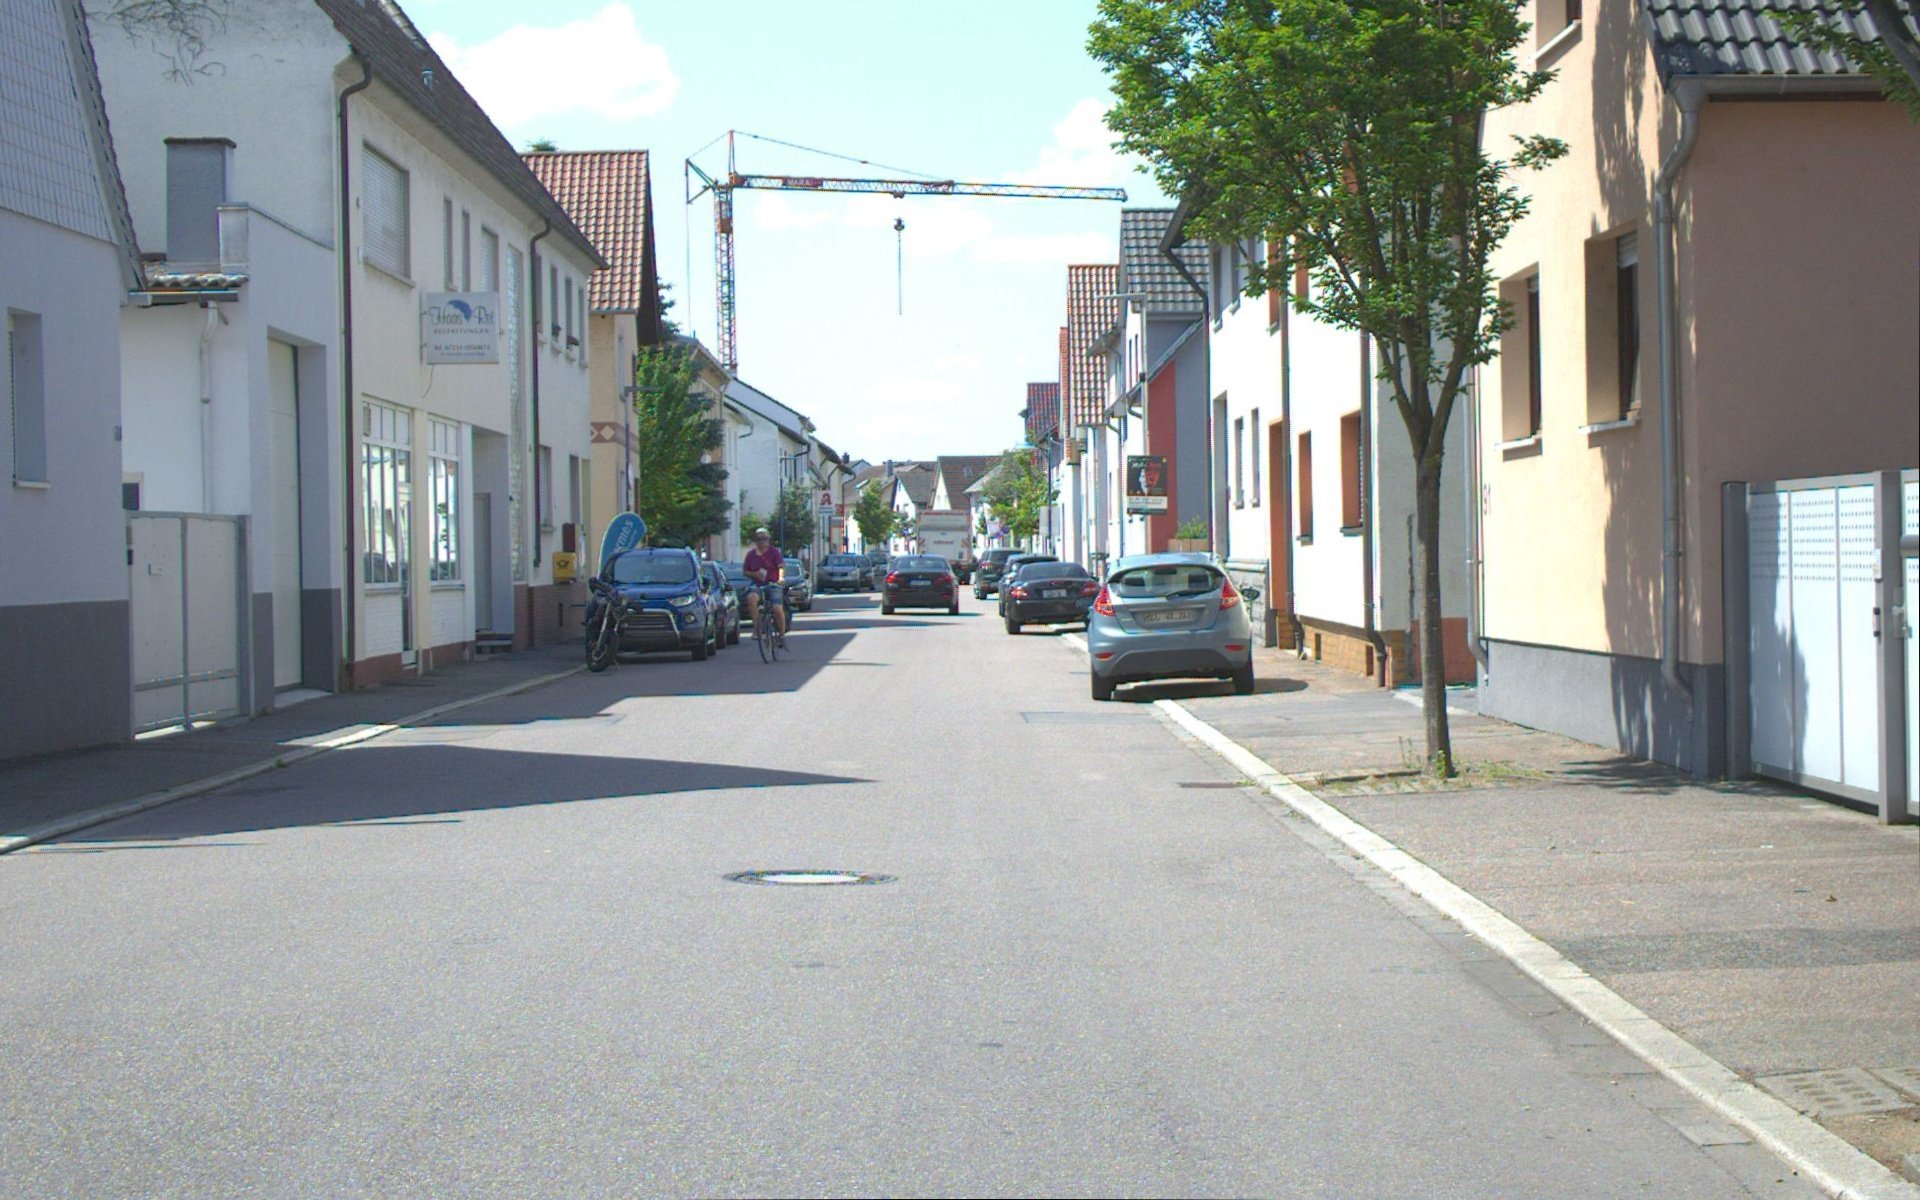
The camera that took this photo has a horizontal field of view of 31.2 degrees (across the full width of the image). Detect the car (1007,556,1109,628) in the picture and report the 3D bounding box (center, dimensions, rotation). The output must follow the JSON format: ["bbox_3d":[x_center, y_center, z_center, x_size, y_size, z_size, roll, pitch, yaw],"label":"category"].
[{"bbox_3d":[1.812,-0.167,64.559,1.815,1.271,4.147,-1,1,0],"label":"car"}]

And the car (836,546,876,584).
[{"bbox_3d":[-4.625,-1.577,153.021,1.653,1.603,4.061,-2,1,-1],"label":"car"}]

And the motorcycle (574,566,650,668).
[{"bbox_3d":[-4.661,0.209,46.183,0.808,1.308,2.106,-1,1,-1],"label":"motorcycle"}]

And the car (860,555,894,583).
[{"bbox_3d":[-4.625,-1.753,192.214,1.723,1.550,4.172,0,1,0],"label":"car"}]

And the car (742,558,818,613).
[{"bbox_3d":[-5.018,-0.412,96.405,1.768,1.455,4.436,-1,1,2],"label":"car"}]

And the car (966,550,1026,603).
[{"bbox_3d":[1.176,-0.794,113.787,1.728,1.711,4.276,-1,1,-2],"label":"car"}]

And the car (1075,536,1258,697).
[{"bbox_3d":[2.187,0.132,36.257,1.722,1.476,3.749,-4,1,4],"label":"car"}]

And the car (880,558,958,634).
[{"bbox_3d":[-1.014,-0.124,83.736,1.782,1.747,4.000,-2,1,-1],"label":"car"}]

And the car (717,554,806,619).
[{"bbox_3d":[-4.327,-0.322,75.288,1.761,1.369,4.067,0,1,-1],"label":"car"}]

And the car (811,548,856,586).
[{"bbox_3d":[-5.352,-1.405,145.721,1.758,1.519,4.289,-2,1,-1],"label":"car"}]

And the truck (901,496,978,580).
[{"bbox_3d":[-1.098,-3.011,170.778,3.378,3.852,13.927,-2,1,-2],"label":"truck"}]

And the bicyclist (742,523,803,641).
[{"bbox_3d":[-2.611,-0.258,47.955,0.747,1.631,0.956,0,1,3],"label":"bicyclist"}]

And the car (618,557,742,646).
[{"bbox_3d":[-4.670,-0.004,57.814,1.697,1.407,4.390,-1,1,0],"label":"car"}]

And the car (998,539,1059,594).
[{"bbox_3d":[2.000,-1.008,101.263,1.617,1.490,3.972,-4,1,0],"label":"car"}]

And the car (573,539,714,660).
[{"bbox_3d":[-4.624,-0.042,50.727,1.717,1.634,4.149,-3,1,-1],"label":"car"}]

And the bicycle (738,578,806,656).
[{"bbox_3d":[-2.609,0.225,47.905,0.743,1.044,1.940,0,1,3],"label":"bicycle"}]
